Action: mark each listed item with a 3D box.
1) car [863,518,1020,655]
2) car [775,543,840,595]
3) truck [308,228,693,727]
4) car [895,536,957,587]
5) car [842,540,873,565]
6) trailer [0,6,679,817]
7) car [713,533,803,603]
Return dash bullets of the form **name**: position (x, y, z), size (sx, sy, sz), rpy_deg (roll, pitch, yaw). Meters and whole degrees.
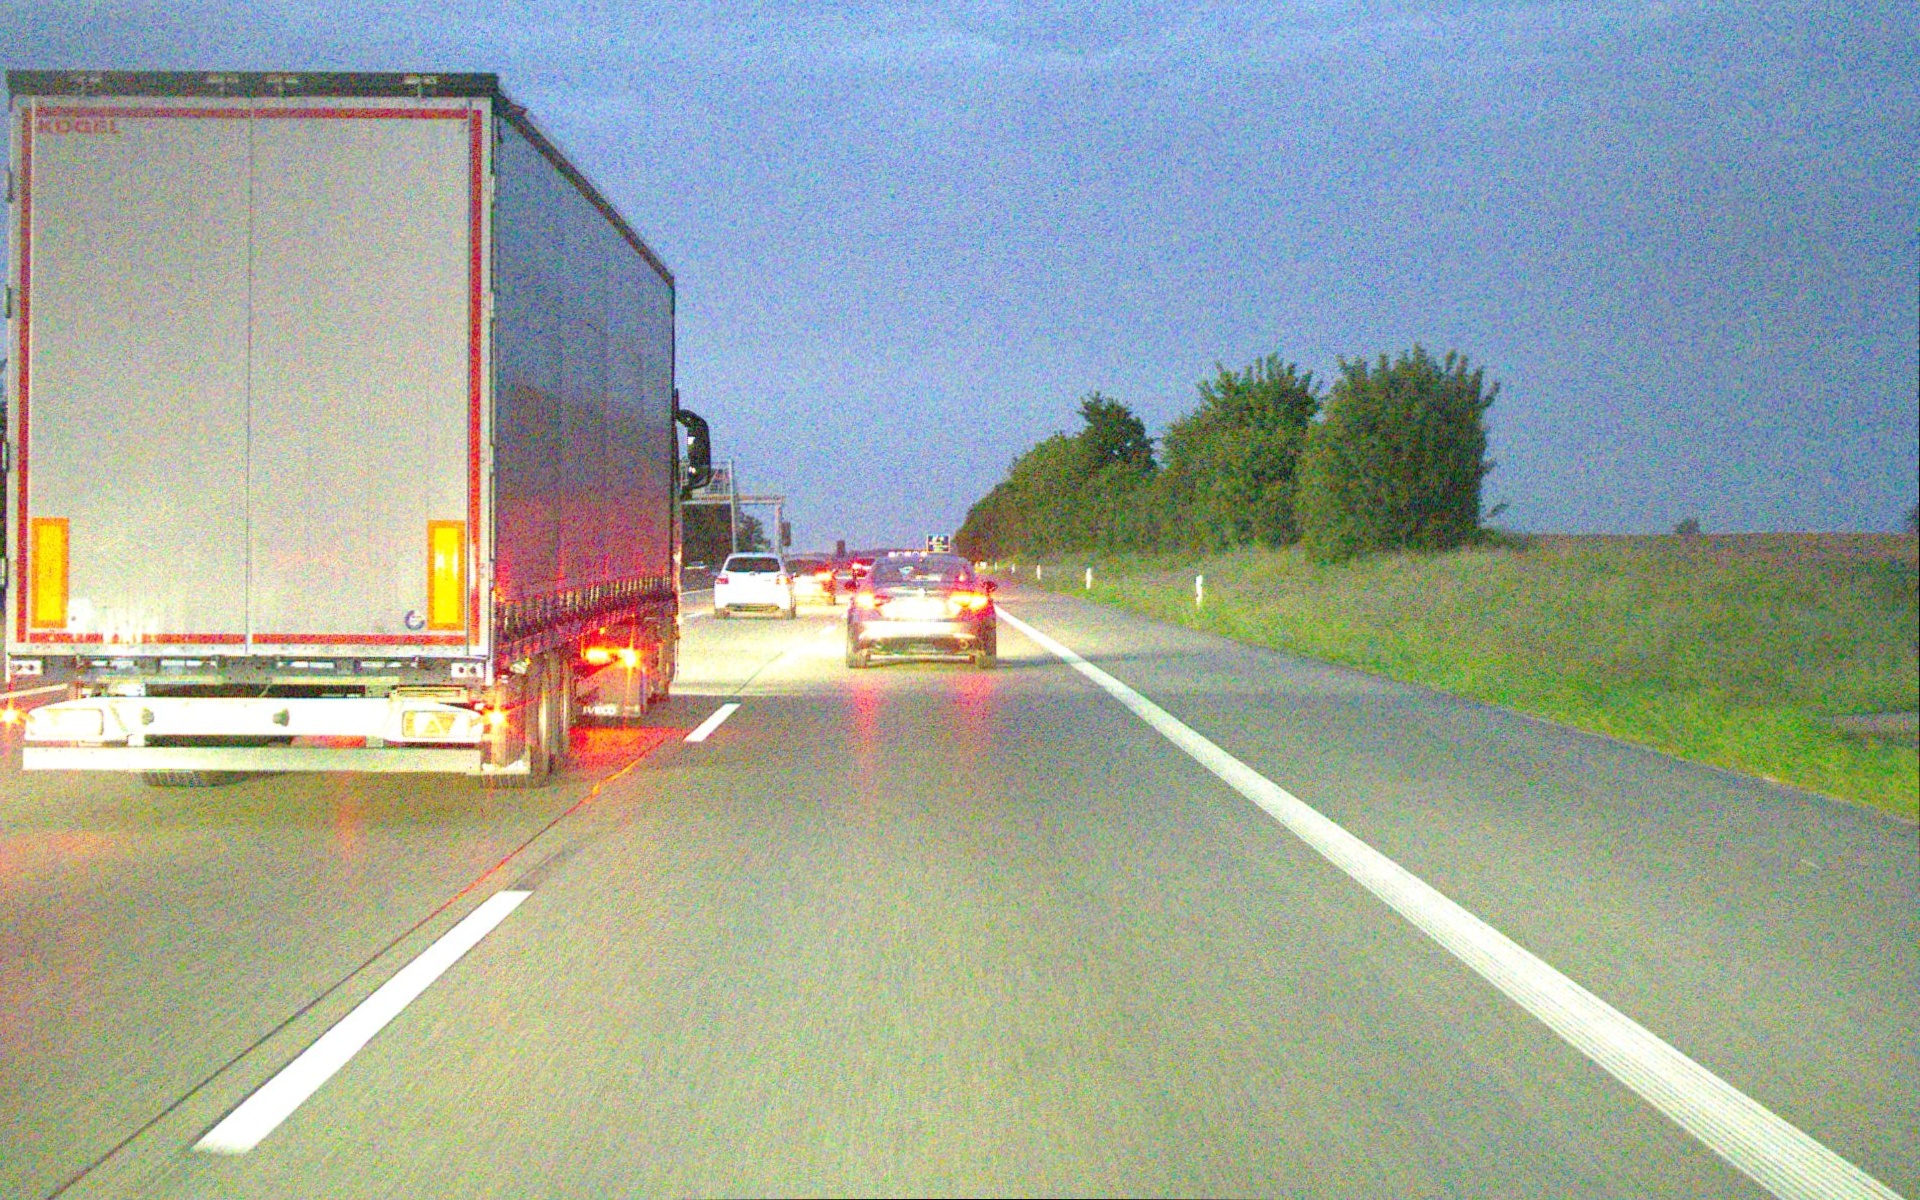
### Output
- **car**: position (-0.240, -0.183, 43.835), size (1.880, 1.637, 4.000), rpy_deg (1, 0, -1)
- **car**: position (-4.400, -0.895, 99.676), size (1.722, 1.466, 4.726), rpy_deg (1, 0, -1)
- **truck**: position (-3.995, -1.028, 31.205), size (2.777, 4.079, 6.103), rpy_deg (0, 0, -1)
- **car**: position (-1.073, -1.199, 107.306), size (1.880, 1.547, 4.000), rpy_deg (1, 0, -1)
- **car**: position (-6.573, -3.030, 220.671), size (1.880, 1.547, 4.000), rpy_deg (1, 0, -1)
- **trailer**: position (-3.864, -1.004, 24.553), size (2.794, 4.071, 14.526), rpy_deg (0, 0, -1)
- **car**: position (-4.566, -0.725, 78.194), size (1.744, 1.519, 4.414), rpy_deg (1, 0, 0)
